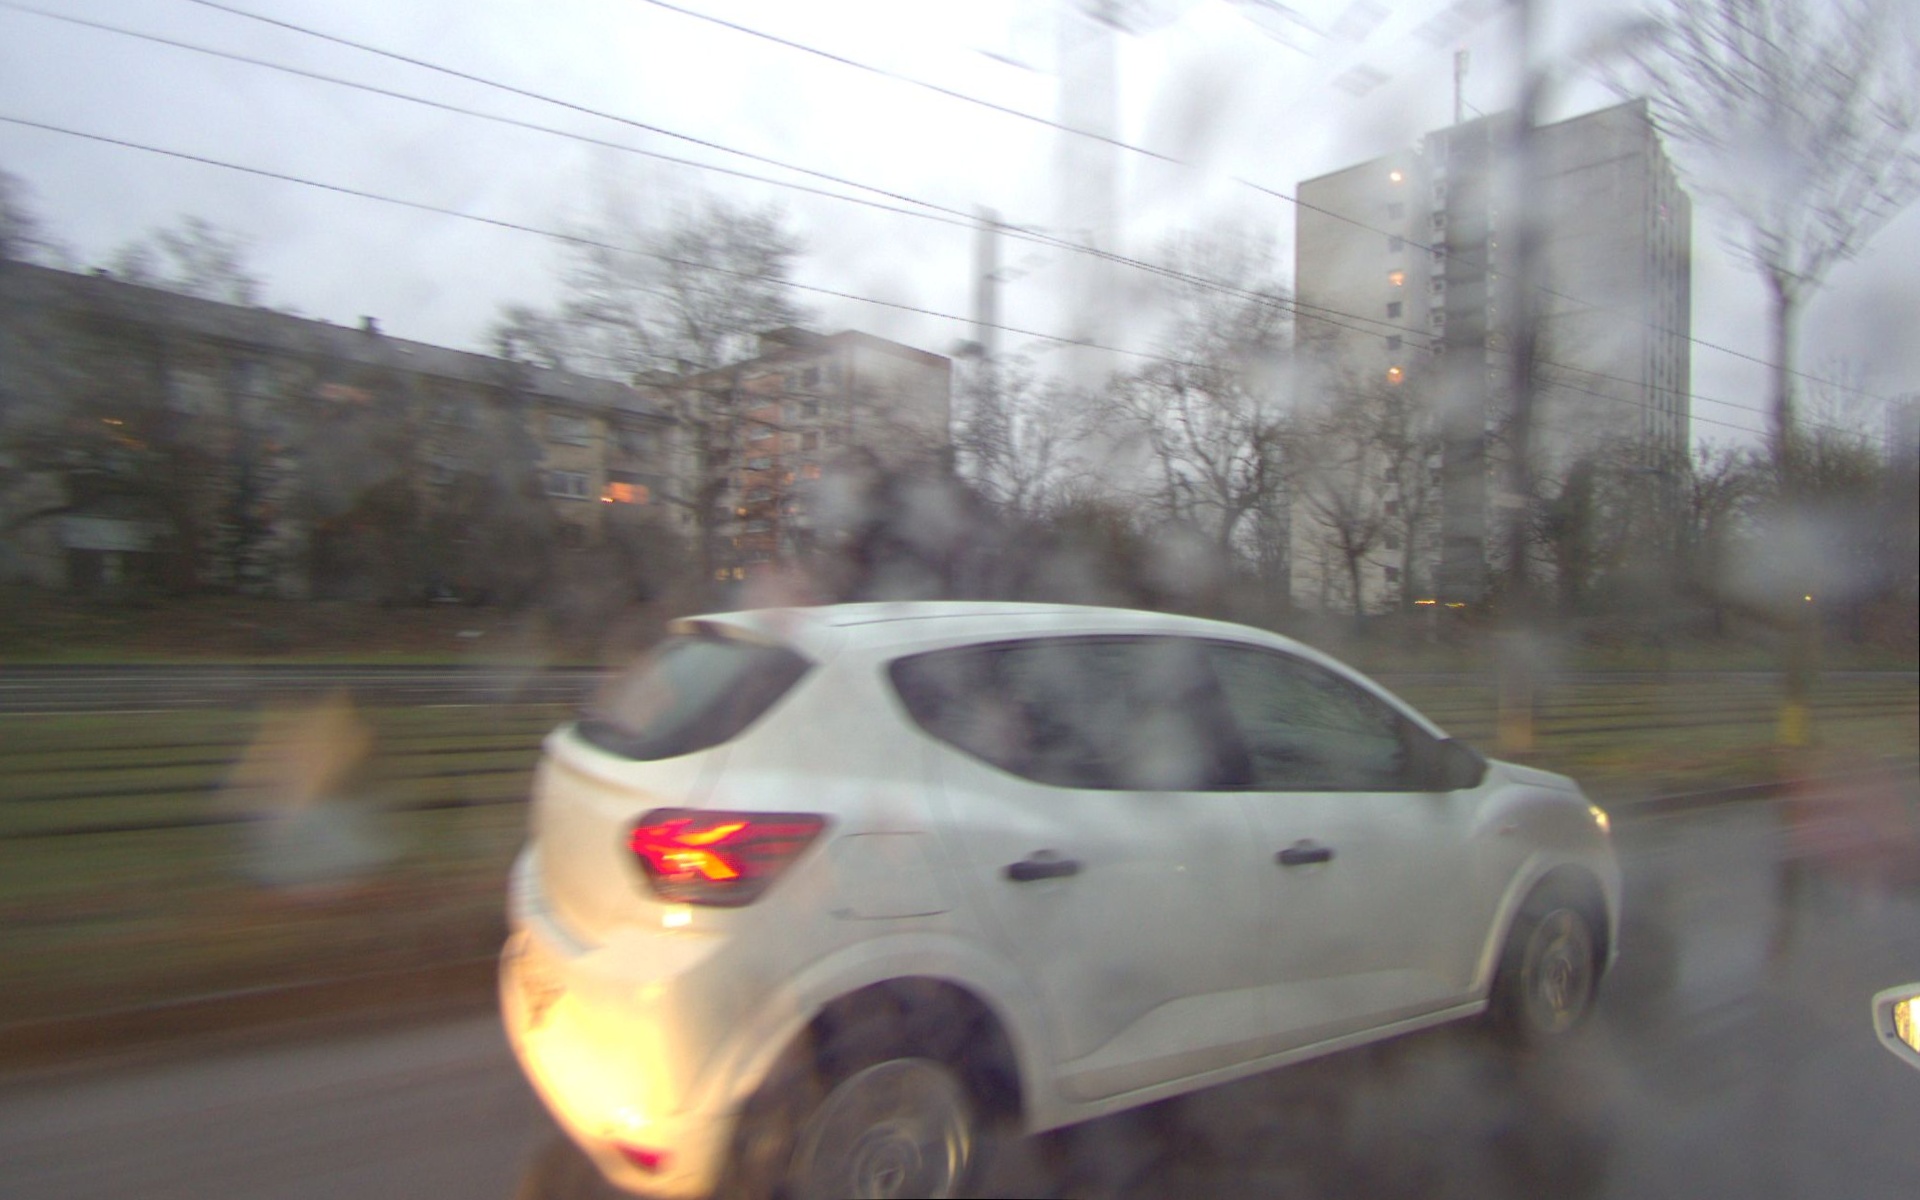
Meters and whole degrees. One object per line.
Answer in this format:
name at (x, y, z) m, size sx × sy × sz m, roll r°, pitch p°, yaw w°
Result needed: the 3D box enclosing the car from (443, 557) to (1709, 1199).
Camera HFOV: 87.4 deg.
car at (0.570, 0.773, 3.435) m, size 4.085 × 1.545 × 1.701 m, roll 2°, pitch -1°, yaw -29°
